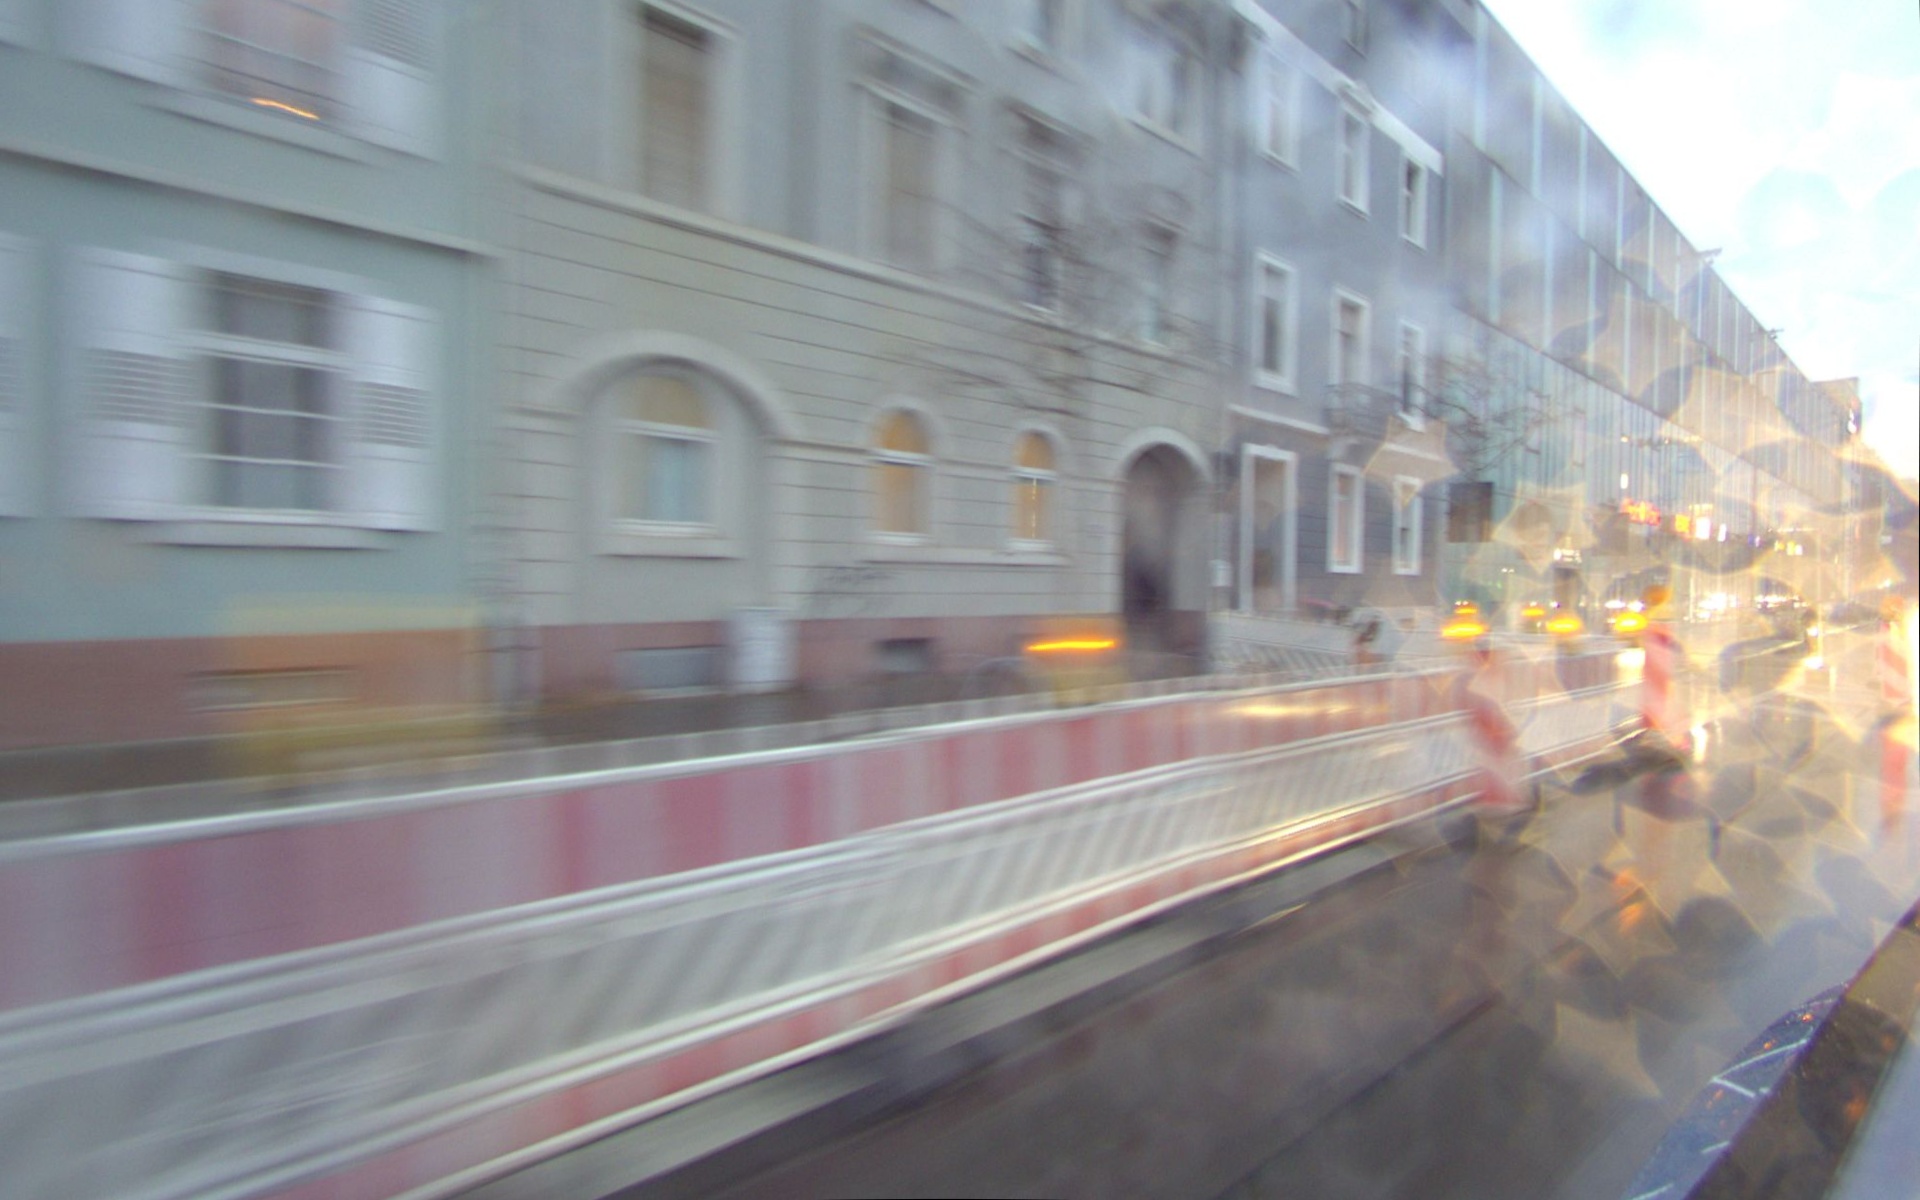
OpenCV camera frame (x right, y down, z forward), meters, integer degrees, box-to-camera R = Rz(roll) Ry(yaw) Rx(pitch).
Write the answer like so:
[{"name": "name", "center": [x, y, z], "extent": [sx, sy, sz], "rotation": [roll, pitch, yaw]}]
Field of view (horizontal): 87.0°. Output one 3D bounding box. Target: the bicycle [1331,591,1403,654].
[{"name": "bicycle", "center": [8.699, 0.449, 21.612], "extent": [0.683, 1.236, 1.875], "rotation": [6, 5, 45]}]

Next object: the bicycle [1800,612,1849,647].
[{"name": "bicycle", "center": [27.676, 0.924, 32.373], "extent": [2.202, 1.012, 0.944], "rotation": [0, 1, -43]}]

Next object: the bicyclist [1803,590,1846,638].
[{"name": "bicyclist", "center": [27.656, 0.438, 32.379], "extent": [1.048, 1.481, 0.944], "rotation": [0, 1, -42]}]

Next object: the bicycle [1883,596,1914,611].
[{"name": "bicycle", "center": [81.502, 0.309, 87.924], "extent": [0.655, 1.189, 1.906], "rotation": [0, 3, -43]}]
